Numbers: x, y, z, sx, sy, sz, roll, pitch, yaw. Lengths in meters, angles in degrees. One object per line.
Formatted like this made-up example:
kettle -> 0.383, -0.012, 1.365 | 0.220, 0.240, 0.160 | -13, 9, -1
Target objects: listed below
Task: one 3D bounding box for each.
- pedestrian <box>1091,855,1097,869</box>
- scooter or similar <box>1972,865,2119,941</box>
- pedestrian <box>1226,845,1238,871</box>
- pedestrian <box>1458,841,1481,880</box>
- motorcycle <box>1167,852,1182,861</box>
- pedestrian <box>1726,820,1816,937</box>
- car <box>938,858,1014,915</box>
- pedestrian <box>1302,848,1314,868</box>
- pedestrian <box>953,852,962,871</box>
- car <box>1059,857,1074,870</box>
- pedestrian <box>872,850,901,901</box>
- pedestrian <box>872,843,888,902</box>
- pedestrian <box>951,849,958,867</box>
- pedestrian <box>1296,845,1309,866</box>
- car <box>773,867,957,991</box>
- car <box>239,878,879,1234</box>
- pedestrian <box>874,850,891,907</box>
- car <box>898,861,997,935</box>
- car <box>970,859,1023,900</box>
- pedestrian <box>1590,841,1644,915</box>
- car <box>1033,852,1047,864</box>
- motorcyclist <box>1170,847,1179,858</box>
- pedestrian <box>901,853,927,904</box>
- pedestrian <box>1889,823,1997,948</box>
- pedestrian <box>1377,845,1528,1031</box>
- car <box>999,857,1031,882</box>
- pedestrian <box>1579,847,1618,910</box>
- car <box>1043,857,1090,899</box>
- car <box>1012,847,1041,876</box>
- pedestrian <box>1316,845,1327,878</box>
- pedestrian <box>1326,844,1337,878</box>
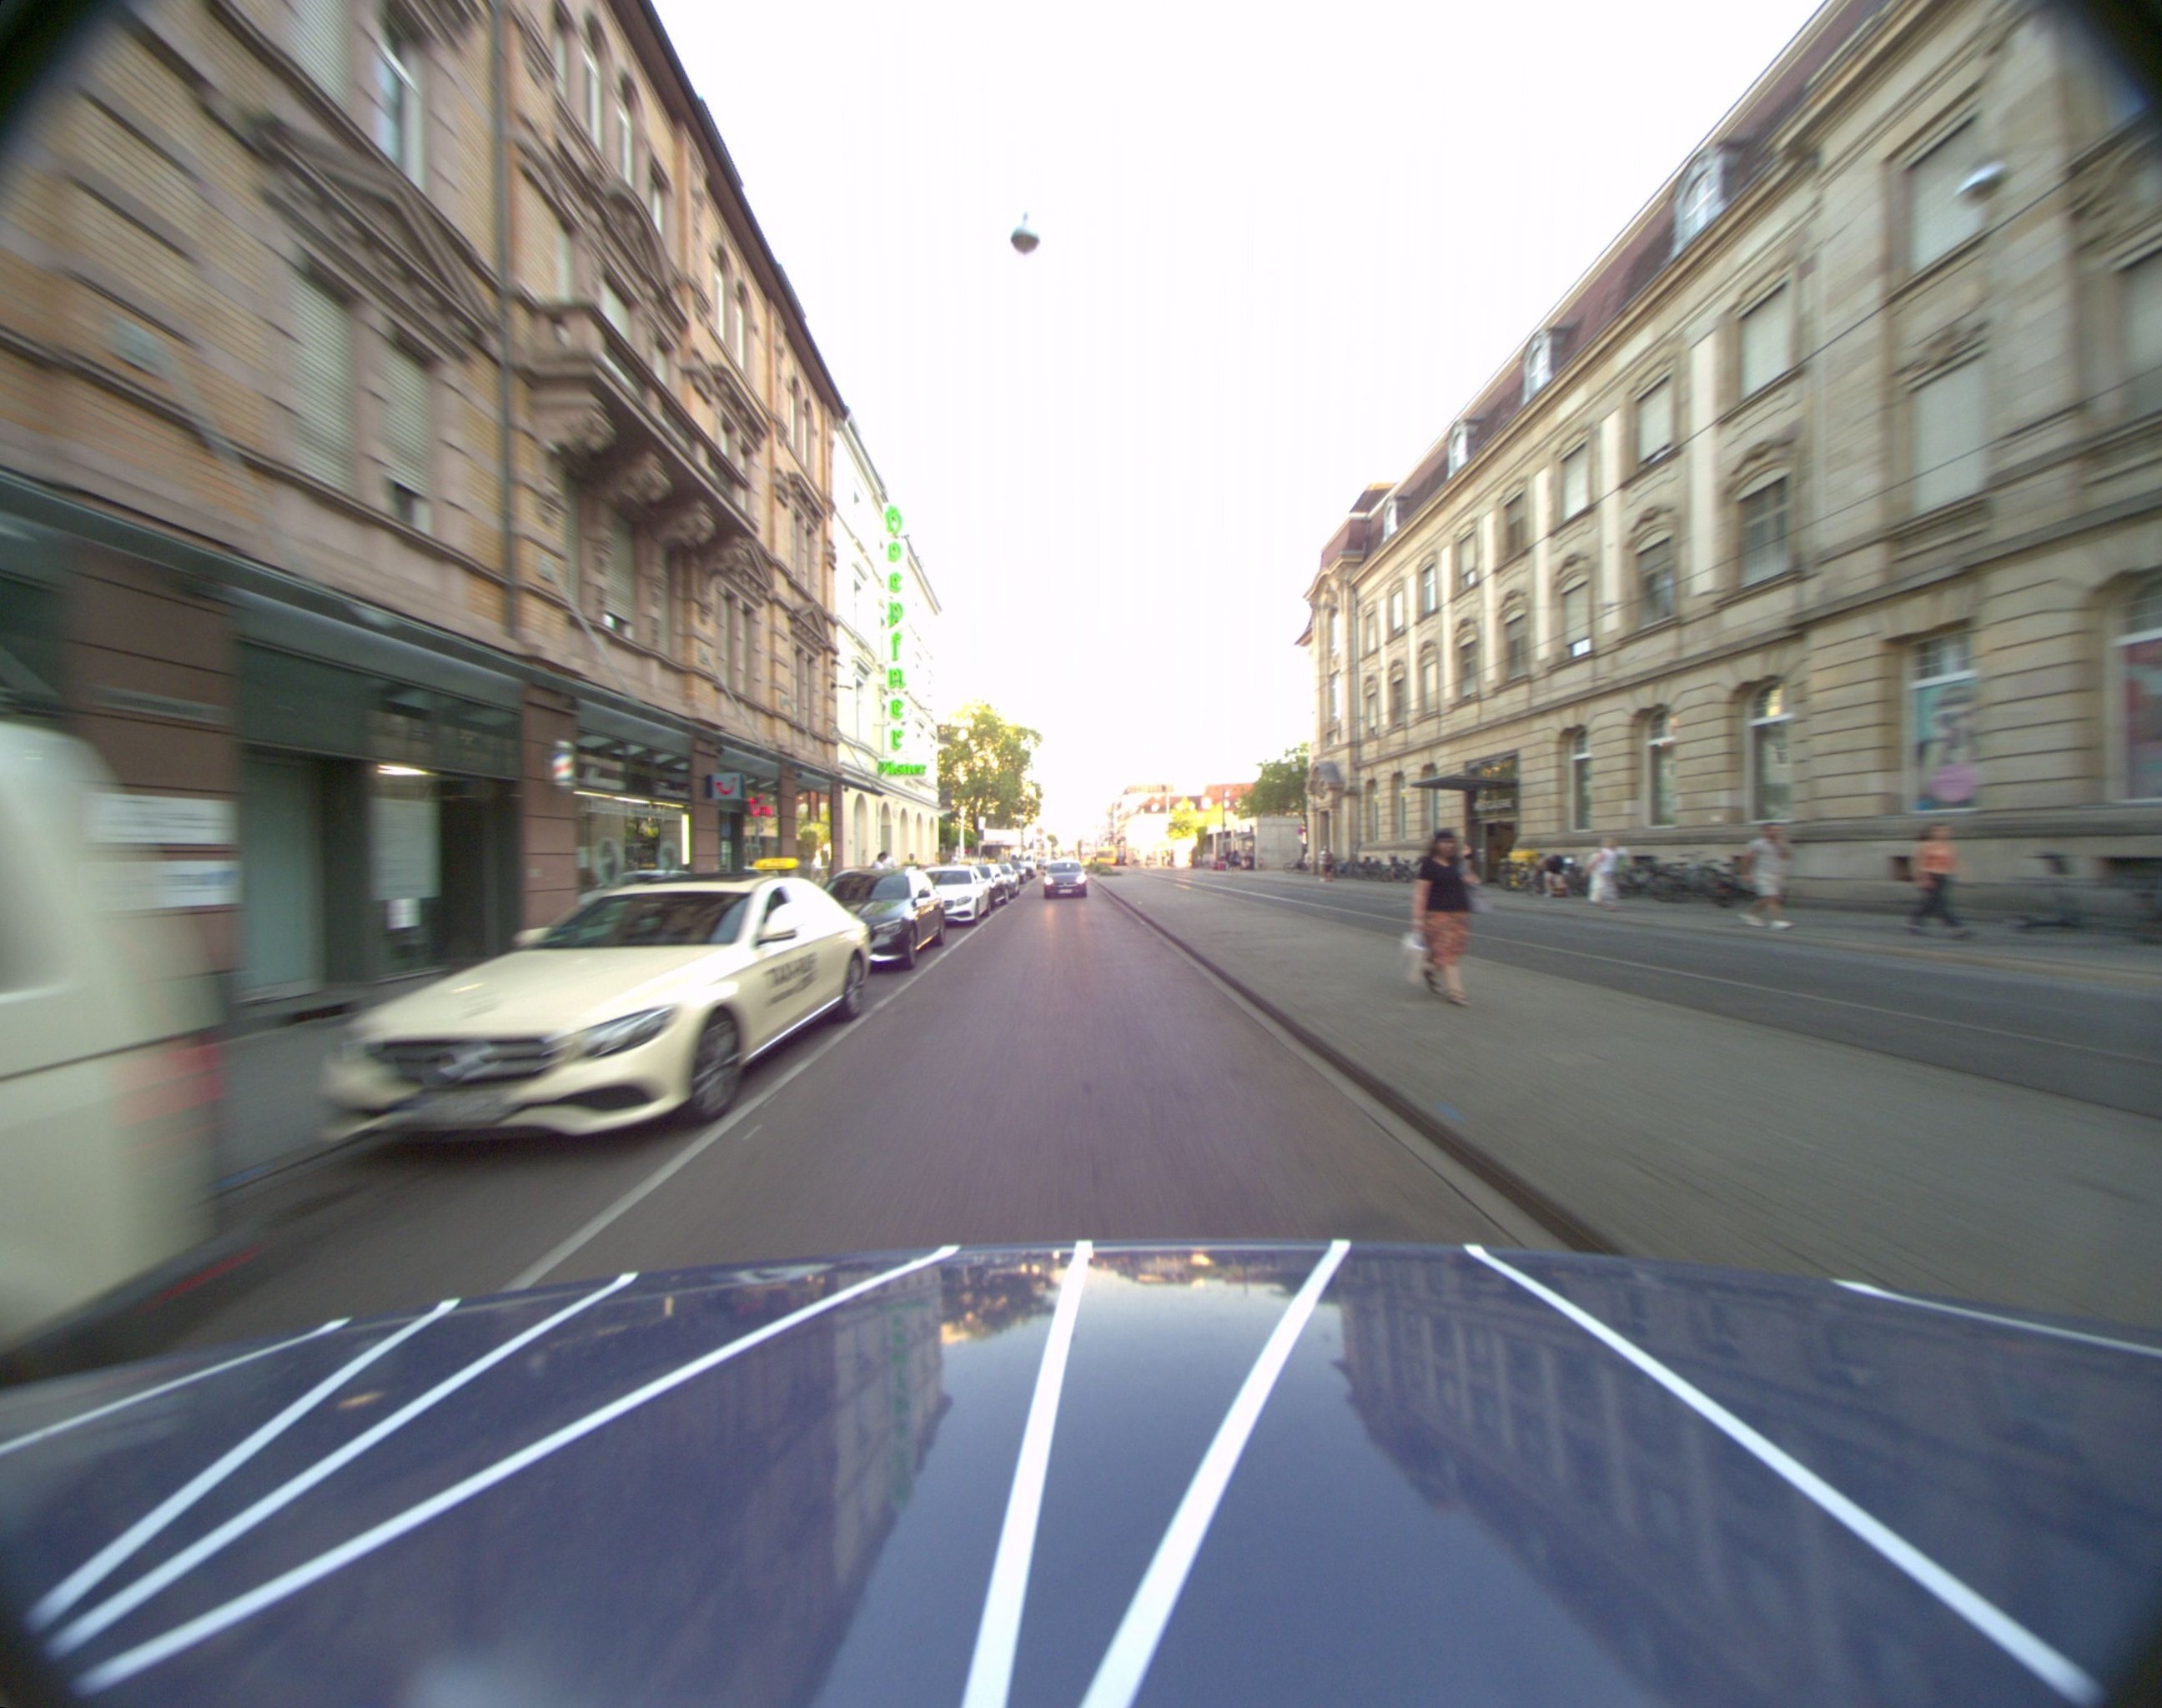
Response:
pedestrian -> 1.579, 0.936, 91.628 | 0.638, 1.616, 0.519 | -2, 2, -12
scooter or similar -> 14.456, 0.727, 11.407 | 1.550, 1.062, 0.451 | -2, 1, 4
pedestrian -> 10.115, 0.289, 50.880 | 0.678, 1.726, 0.484 | 1, 0, 40
pedestrian -> 15.672, 0.261, 30.668 | 0.736, 1.524, 0.779 | -1, 1, 21
motorcycle -> 12.403, 0.333, 100.899 | 1.774, 1.230, 0.808 | -2, 1, 37
pedestrian -> 11.082, 0.383, 12.226 | 0.694, 1.802, 0.814 | -1, 1, -6
car -> -3.432, 1.025, 25.615 | 1.737, 1.581, 4.441 | -3, 1, 2
pedestrian -> 17.609, 0.328, 58.875 | 0.661, 1.553, 0.679 | -1, 1, -5
pedestrian -> -8.703, 0.530, 53.603 | 0.532, 1.288, 0.491 | -1, 1, -1
car -> -1.918, 1.219, 99.223 | 1.811, 1.474, 4.283 | -3, 0, -1
pedestrian -> -6.627, 0.713, 25.959 | 0.761, 1.679, 0.551 | 3, 0, -2
pedestrian -> -6.119, 0.563, 23.093 | 0.374, 1.758, 0.455 | 1, 1, -5
pedestrian -> -10.951, 0.387, 65.898 | 0.490, 1.549, 0.532 | -1, 1, -1
pedestrian -> 16.722, 0.130, 57.349 | 0.661, 1.553, 0.679 | -1, 1, -5
car -> -3.301, 1.053, 12.651 | 1.731, 1.468, 4.819 | -2, 1, -2
car -> -3.132, 1.043, 6.047 | 1.811, 1.474, 4.777 | -3, 0, -1
pedestrian -> -6.192, 0.757, 23.722 | 0.374, 1.758, 0.663 | 1, 1, -5
car -> -3.304, 1.021, 19.725 | 1.737, 1.502, 4.863 | -3, 1, -1
car -> -3.548, 1.022, 32.537 | 1.811, 1.467, 4.692 | -2, 1, -2
pedestrian -> 11.558, 0.503, 16.393 | 0.661, 1.553, 0.679 | -1, 1, -6
car -> -5.525, 0.509, 102.158 | 1.771, 1.565, 3.999 | 1, 1, -1
motorcyclist -> 12.383, -0.164, 100.918 | 0.798, 1.431, 0.801 | -1, 1, 37
pedestrian -> -5.678, 0.823, 25.843 | 0.619, 1.679, 0.486 | 3, 1, 16
pedestrian -> 12.299, 0.426, 10.857 | 0.695, 1.702, 0.814 | -2, 1, -20
pedestrian -> 3.193, 0.677, 6.619 | 0.848, 1.492, 0.901 | -1, 1, -2
car -> -4.157, 0.960, 48.380 | 1.701, 1.382, 4.546 | 1, 1, -1
pedestrian -> 12.266, 0.577, 18.016 | 0.692, 1.458, 0.557 | -1, 1, 29
car -> -0.568, 0.918, 31.044 | 1.739, 1.495, 3.999 | -2, 1, -1
car -> -4.070, 0.532, 57.239 | 1.857, 2.055, 5.214 | -1, 1, -1
pedestrian -> 12.092, 0.379, 38.245 | 0.375, 1.622, 0.494 | -1, 2, 33
pedestrian -> 12.508, 0.367, 37.942 | 0.375, 1.664, 0.494 | -1, 1, 32
